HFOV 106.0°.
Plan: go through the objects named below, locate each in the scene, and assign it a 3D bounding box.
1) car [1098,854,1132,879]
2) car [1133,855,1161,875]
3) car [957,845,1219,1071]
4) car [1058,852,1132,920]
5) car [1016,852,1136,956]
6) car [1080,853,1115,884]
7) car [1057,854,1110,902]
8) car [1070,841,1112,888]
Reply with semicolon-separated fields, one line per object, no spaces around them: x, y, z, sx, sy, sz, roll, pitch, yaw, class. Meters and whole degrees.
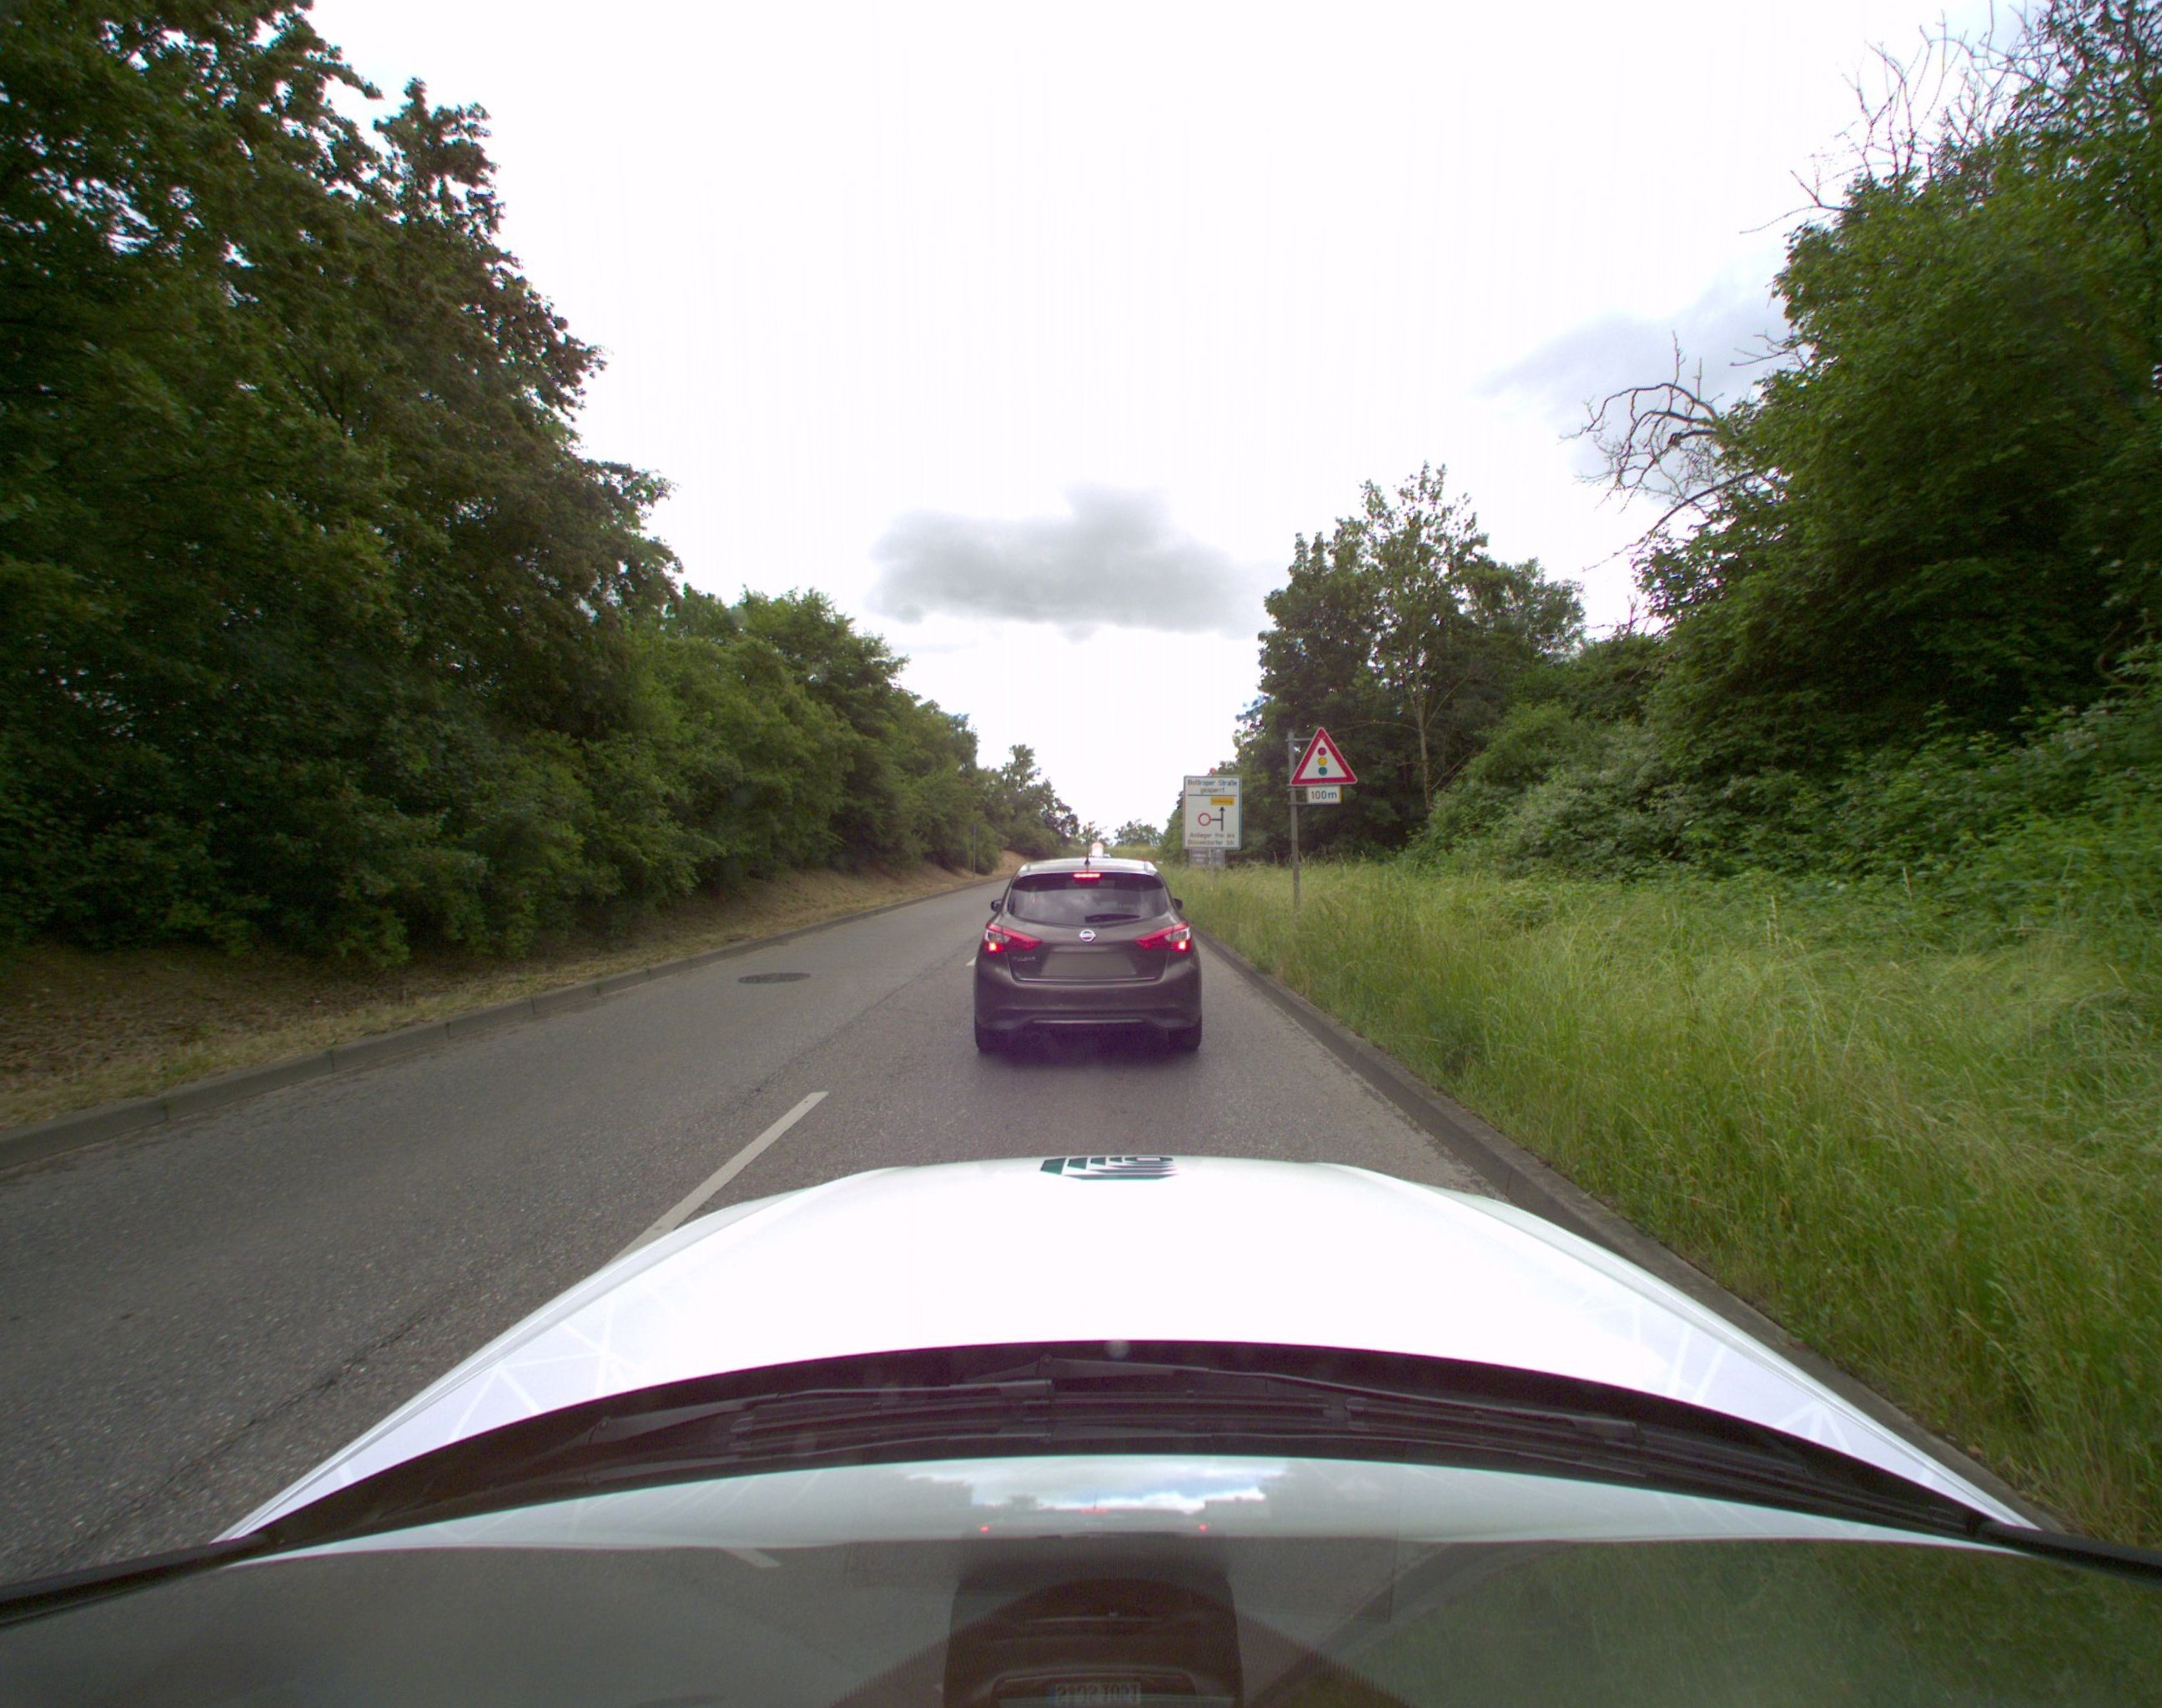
2.262;0.812;53.458;1.725;1.526;3.651;-2;0;9;car
5.424;0.856;66.372;1.724;1.526;3.654;-2;0;13;car
0.059;0.735;7.490;1.824;1.556;3.499;-1;0;0;car
0.402;0.761;21.039;1.729;1.556;3.545;-1;0;2;car
-0.003;0.780;14.455;1.823;1.556;3.626;-1;0;2;car
0.838;0.720;42.423;1.730;1.526;3.543;-1;0;0;car
0.152;0.798;28.800;1.729;1.556;3.545;-1;0;2;car
0.440;0.454;35.837;1.730;1.935;3.543;-1;0;1;car
